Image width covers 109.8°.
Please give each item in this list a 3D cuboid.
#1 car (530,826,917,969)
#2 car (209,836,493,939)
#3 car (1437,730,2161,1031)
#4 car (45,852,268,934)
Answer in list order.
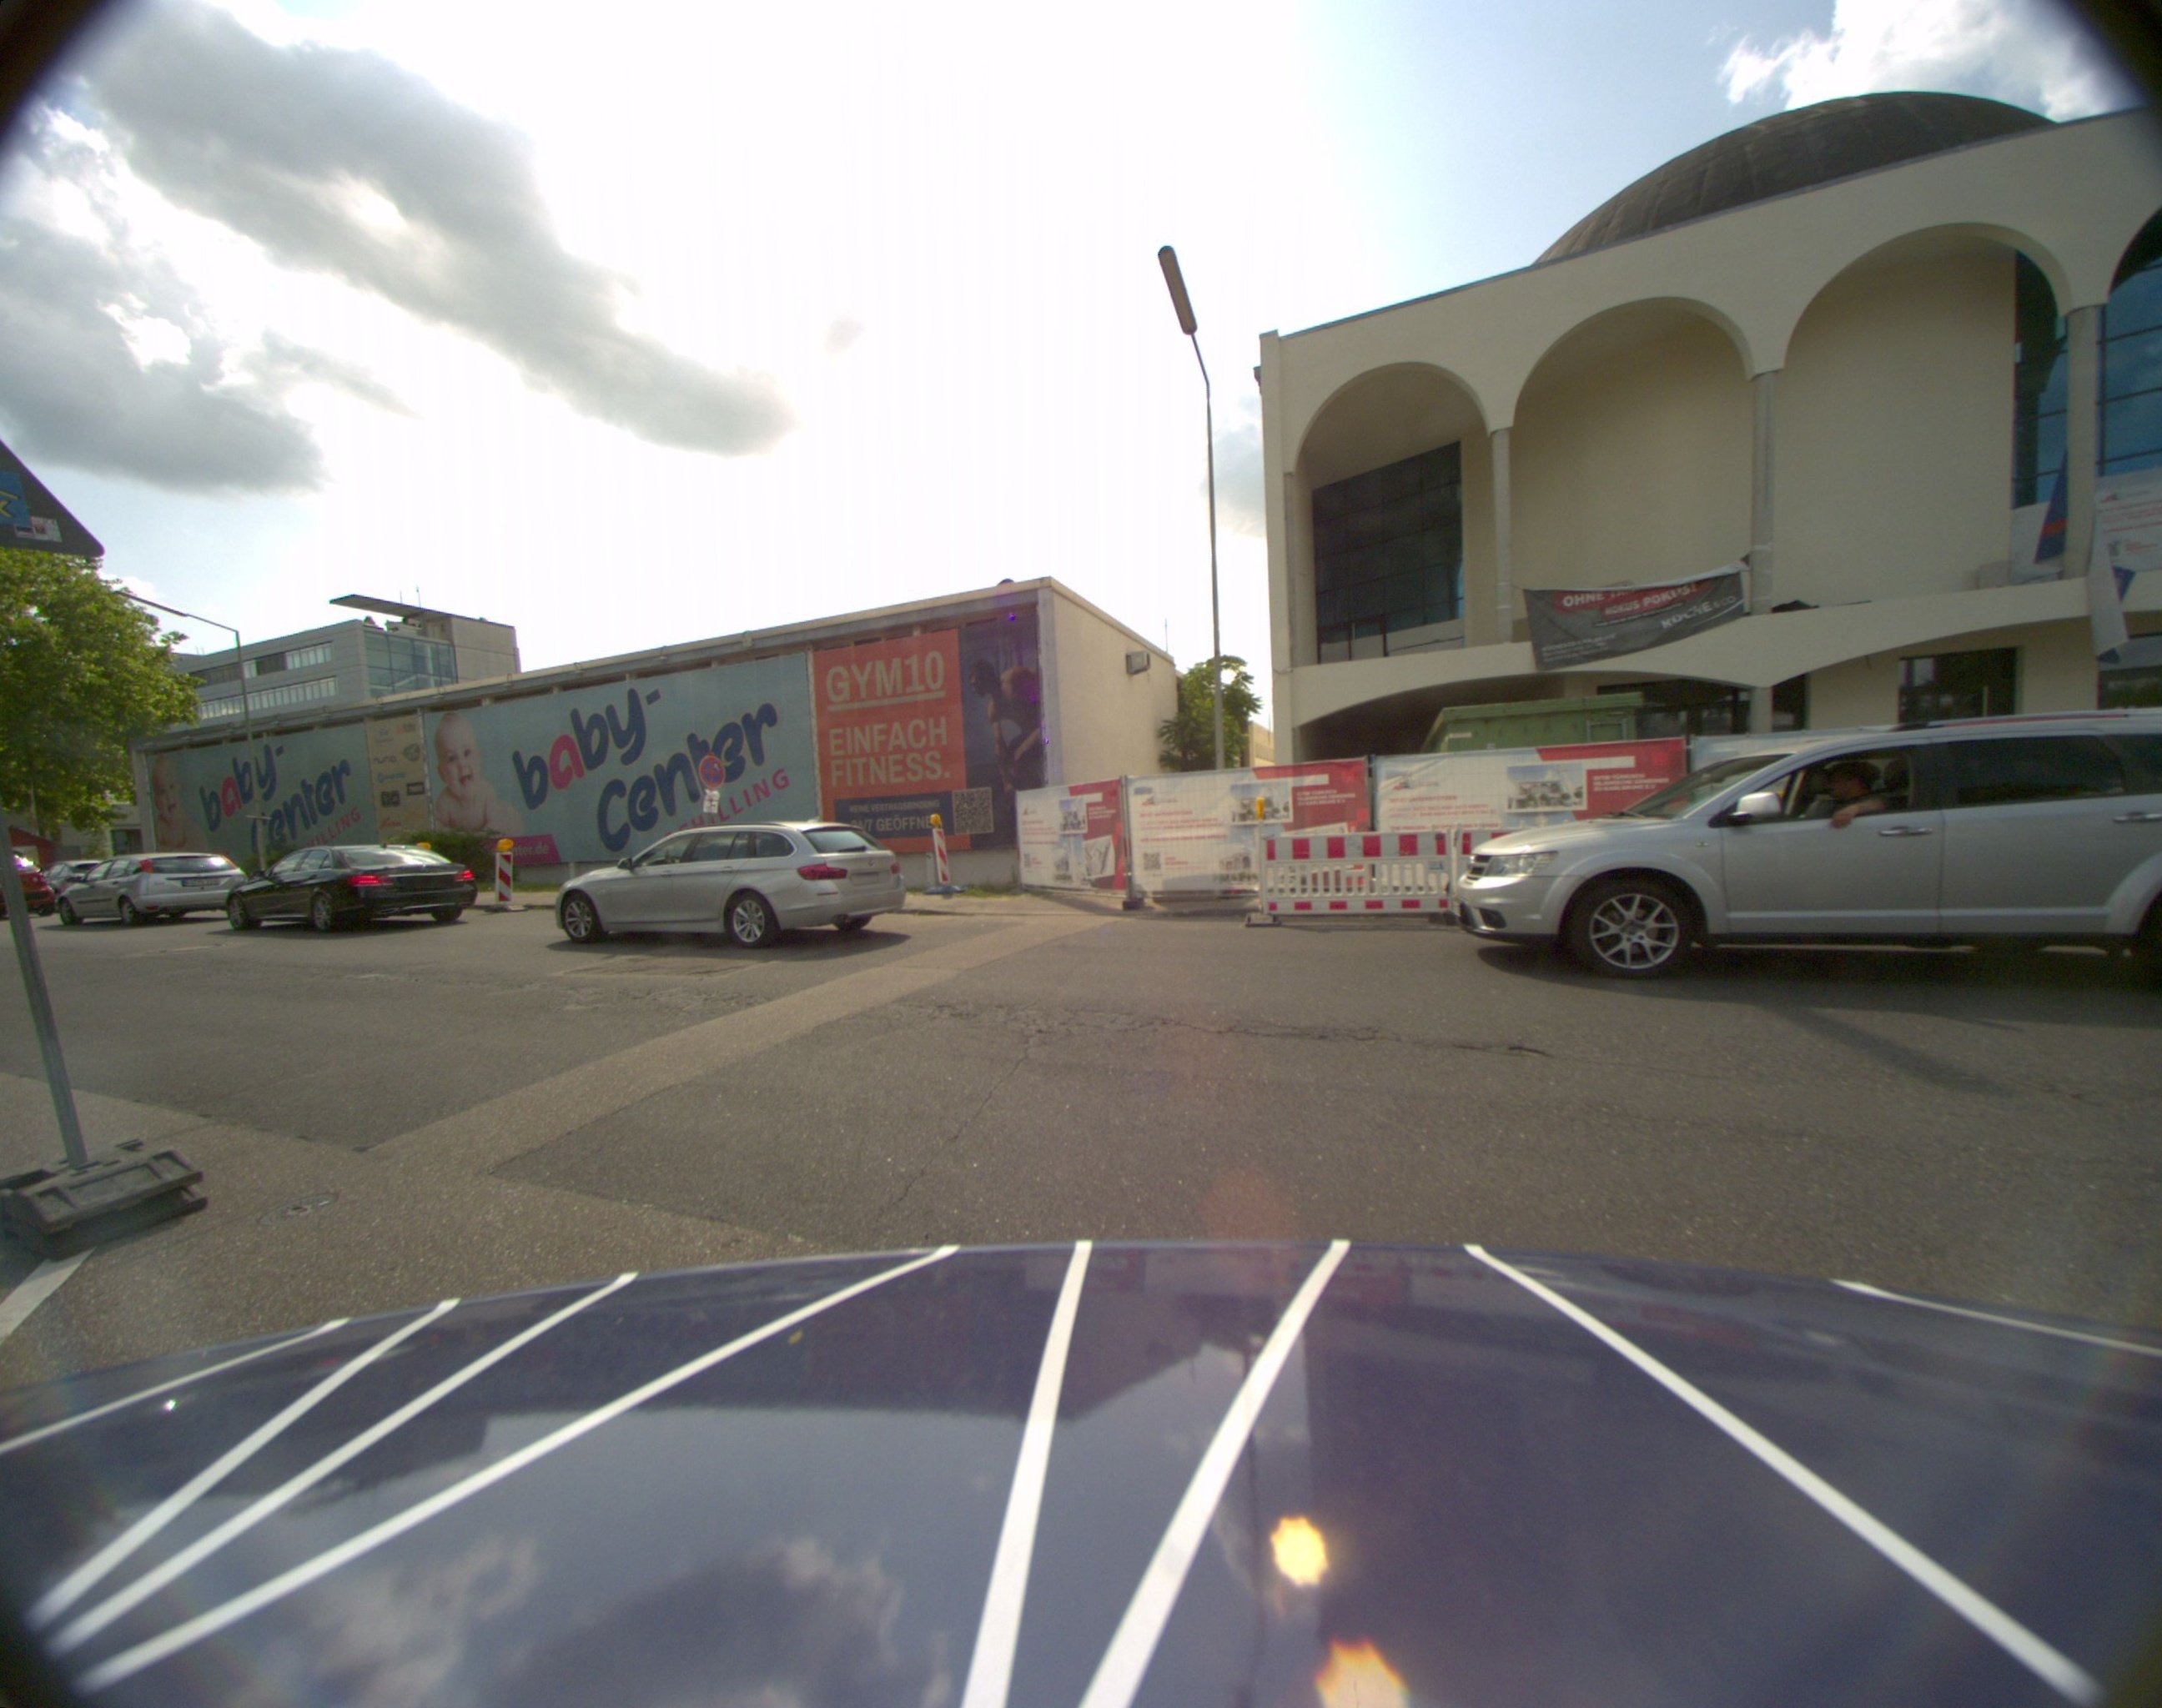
[{"bbox_3d":[-4.573,0.464,9.681,4.606,1.472,1.773,-1,3,24],"label":"car"},{"bbox_3d":[-12.893,0.539,13.423,4.545,1.492,1.855,-1,4,23],"label":"car"},{"bbox_3d":[5.332,0.119,5.480,4.829,1.690,1.870,-1,3,19],"label":"car"},{"bbox_3d":[-19.787,0.787,16.288,3.939,1.483,1.795,-1,4,21],"label":"car"}]
